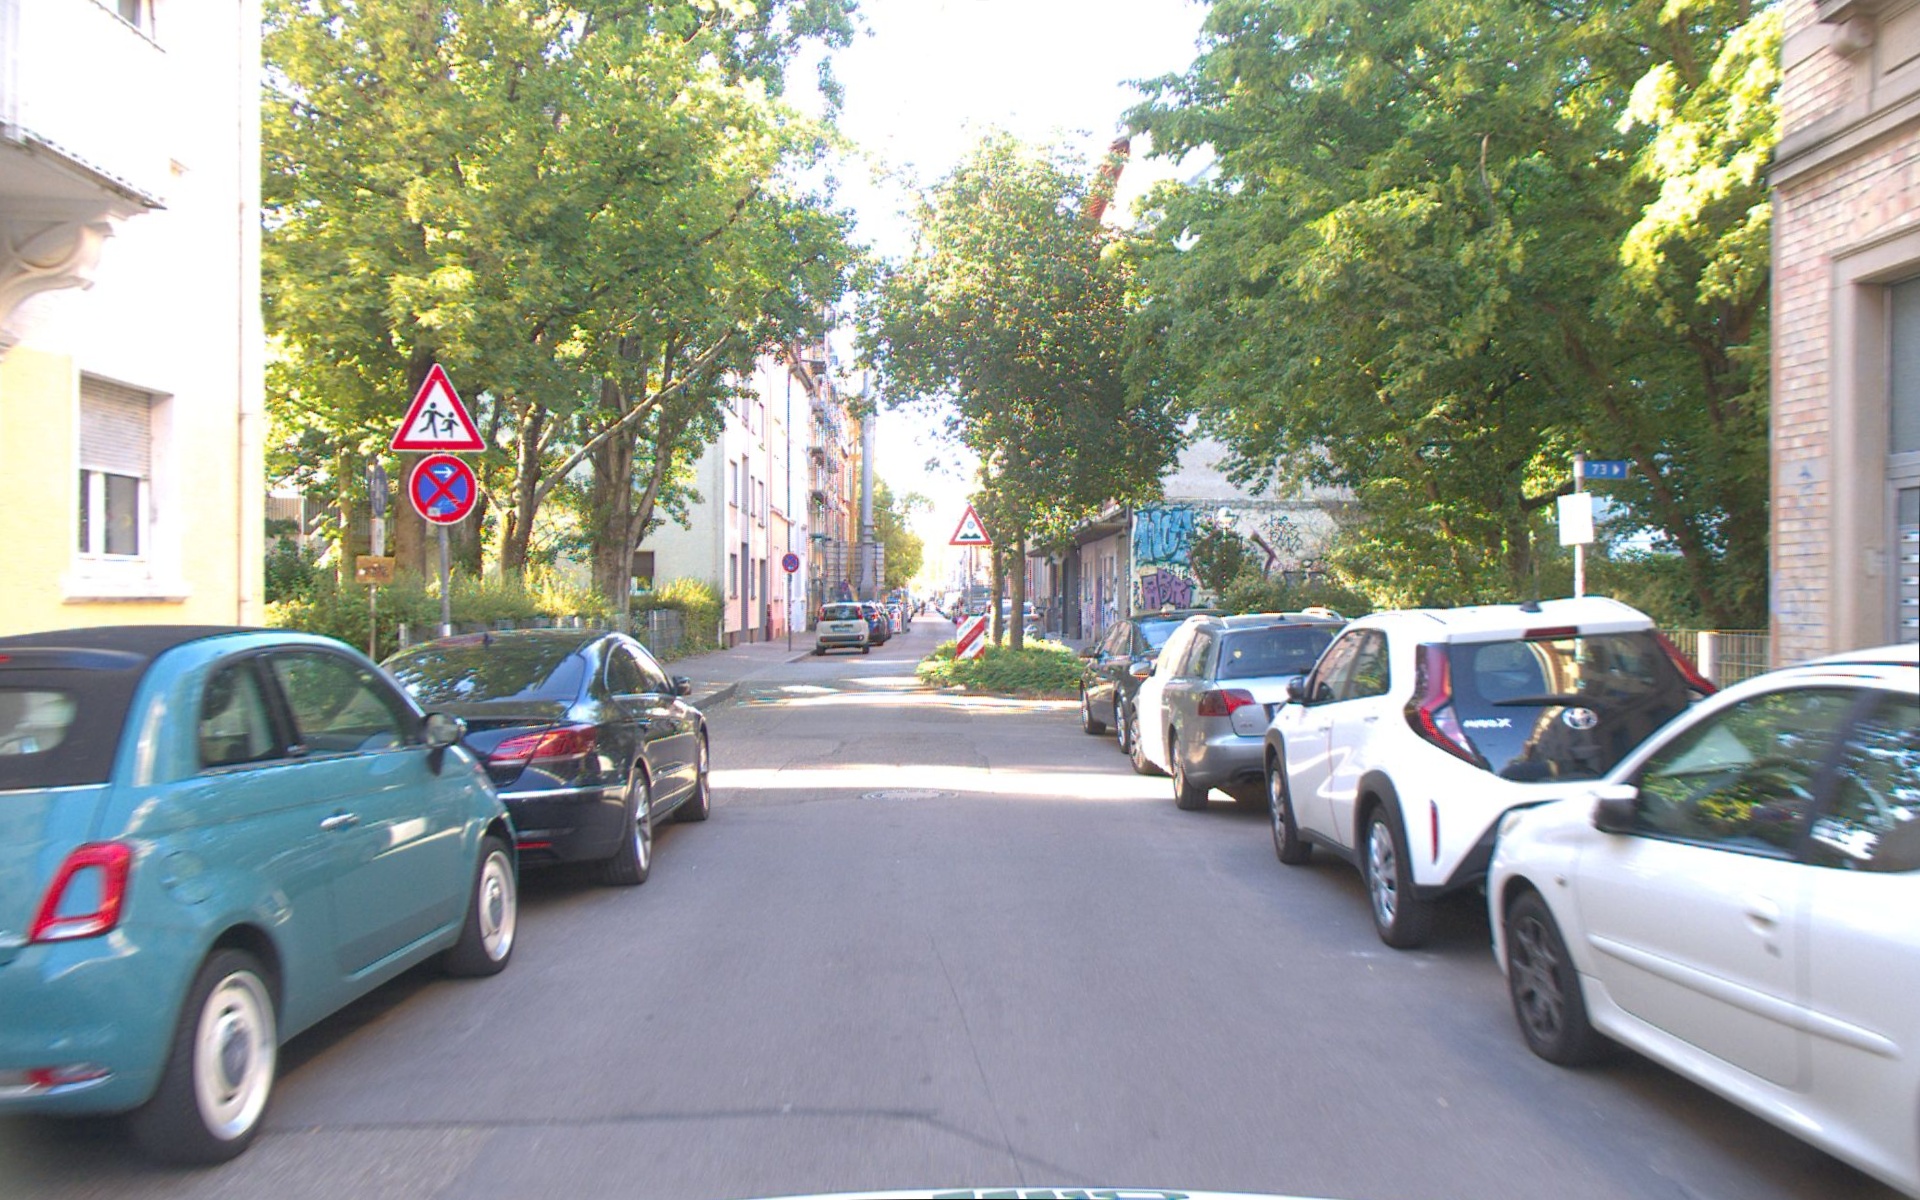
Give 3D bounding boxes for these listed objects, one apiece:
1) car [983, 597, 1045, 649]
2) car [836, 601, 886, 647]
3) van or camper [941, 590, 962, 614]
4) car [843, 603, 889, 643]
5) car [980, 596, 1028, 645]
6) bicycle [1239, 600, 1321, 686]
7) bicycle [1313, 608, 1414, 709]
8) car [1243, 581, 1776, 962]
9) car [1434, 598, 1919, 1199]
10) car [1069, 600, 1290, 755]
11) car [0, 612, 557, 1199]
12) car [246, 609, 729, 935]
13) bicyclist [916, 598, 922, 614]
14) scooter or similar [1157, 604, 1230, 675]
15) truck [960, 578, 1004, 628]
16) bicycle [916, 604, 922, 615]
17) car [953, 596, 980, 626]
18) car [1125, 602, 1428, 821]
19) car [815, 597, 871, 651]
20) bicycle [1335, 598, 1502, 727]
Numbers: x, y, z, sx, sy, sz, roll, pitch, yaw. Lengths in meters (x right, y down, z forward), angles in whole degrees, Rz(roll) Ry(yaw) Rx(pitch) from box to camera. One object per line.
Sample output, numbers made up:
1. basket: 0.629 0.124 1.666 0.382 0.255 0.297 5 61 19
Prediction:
1. car: 1.696 0.722 52.974 1.686 1.589 4.396 0 0 -2
2. car: -3.602 0.861 60.151 1.695 1.566 4.374 -2 0 -3
3. van or camper: -0.934 0.235 181.771 1.955 2.552 4.197 -1 0 -5
4. car: -3.657 0.879 65.153 1.641 1.538 4.413 0 0 -1
5. car: 1.538 0.721 59.381 1.606 1.685 3.869 0 0 0
6. bicycle: 5.188 0.669 26.954 0.829 1.290 2.692 -1 0 1
7. bicycle: 5.203 0.730 21.458 0.829 1.222 1.982 -1 0 1
8. car: 2.679 0.732 8.968 1.561 1.613 3.763 0 0 -1
9. car: 2.834 0.765 4.703 1.562 1.476 4.000 -3 0 -3
10. car: 2.367 0.779 18.920 1.687 1.520 4.411 -1 0 -3
11. car: -2.725 0.834 5.836 1.560 1.476 3.486 -3 0 2
12. car: -2.593 0.842 10.207 1.743 1.468 4.391 -3 0 -1
13. bicyclist: -4.533 0.636 183.301 0.715 1.792 0.835 0 0 -1
14. scooter or similar: 4.367 0.739 31.007 0.539 1.284 1.457 -2 0 -32
15. truck: 1.199 0.149 92.279 2.146 2.652 5.232 -1 0 -2
16. bicycle: -4.538 1.049 183.153 0.710 1.207 2.042 1 1 -1
17. car: 0.432 0.749 115.255 1.641 2.067 3.866 -1 0 -3
18. car: 2.438 0.780 13.782 1.625 1.520 4.352 0 0 -1
19. car: -3.584 0.725 51.167 1.641 1.566 3.866 -1 0 -3
20. bicycle: 5.156 0.664 18.813 1.264 1.324 2.327 -2 0 2
